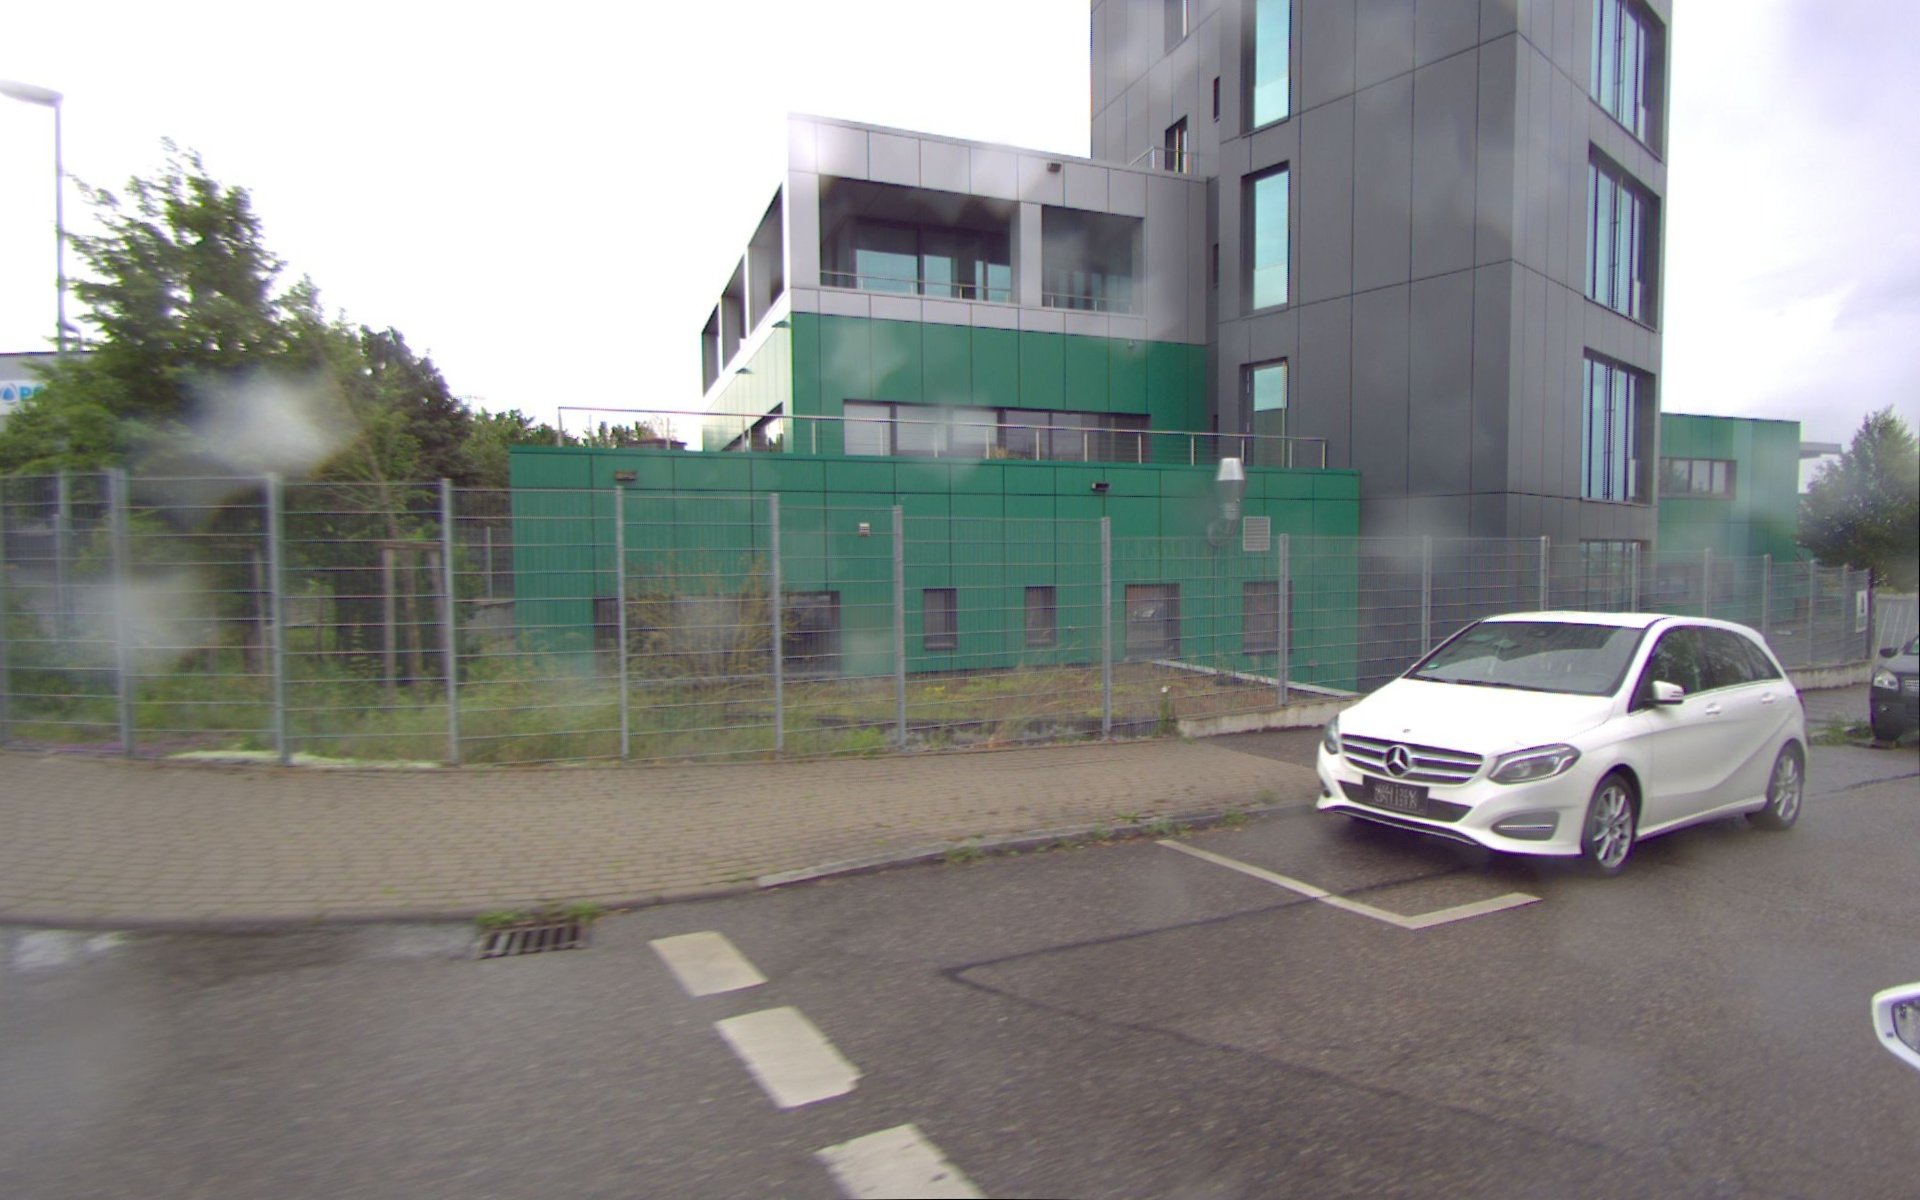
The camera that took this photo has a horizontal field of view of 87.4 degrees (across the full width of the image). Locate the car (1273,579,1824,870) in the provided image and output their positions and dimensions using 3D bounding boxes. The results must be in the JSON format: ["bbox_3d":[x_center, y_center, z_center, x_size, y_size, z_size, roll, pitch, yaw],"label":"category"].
[{"bbox_3d":[4.368,0.686,7.258,4.204,1.556,1.725,1,1,-33],"label":"car"}]

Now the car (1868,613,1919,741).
[{"bbox_3d":[13.779,1.004,13.382,4.043,1.579,1.621,1,1,-35],"label":"car"}]
